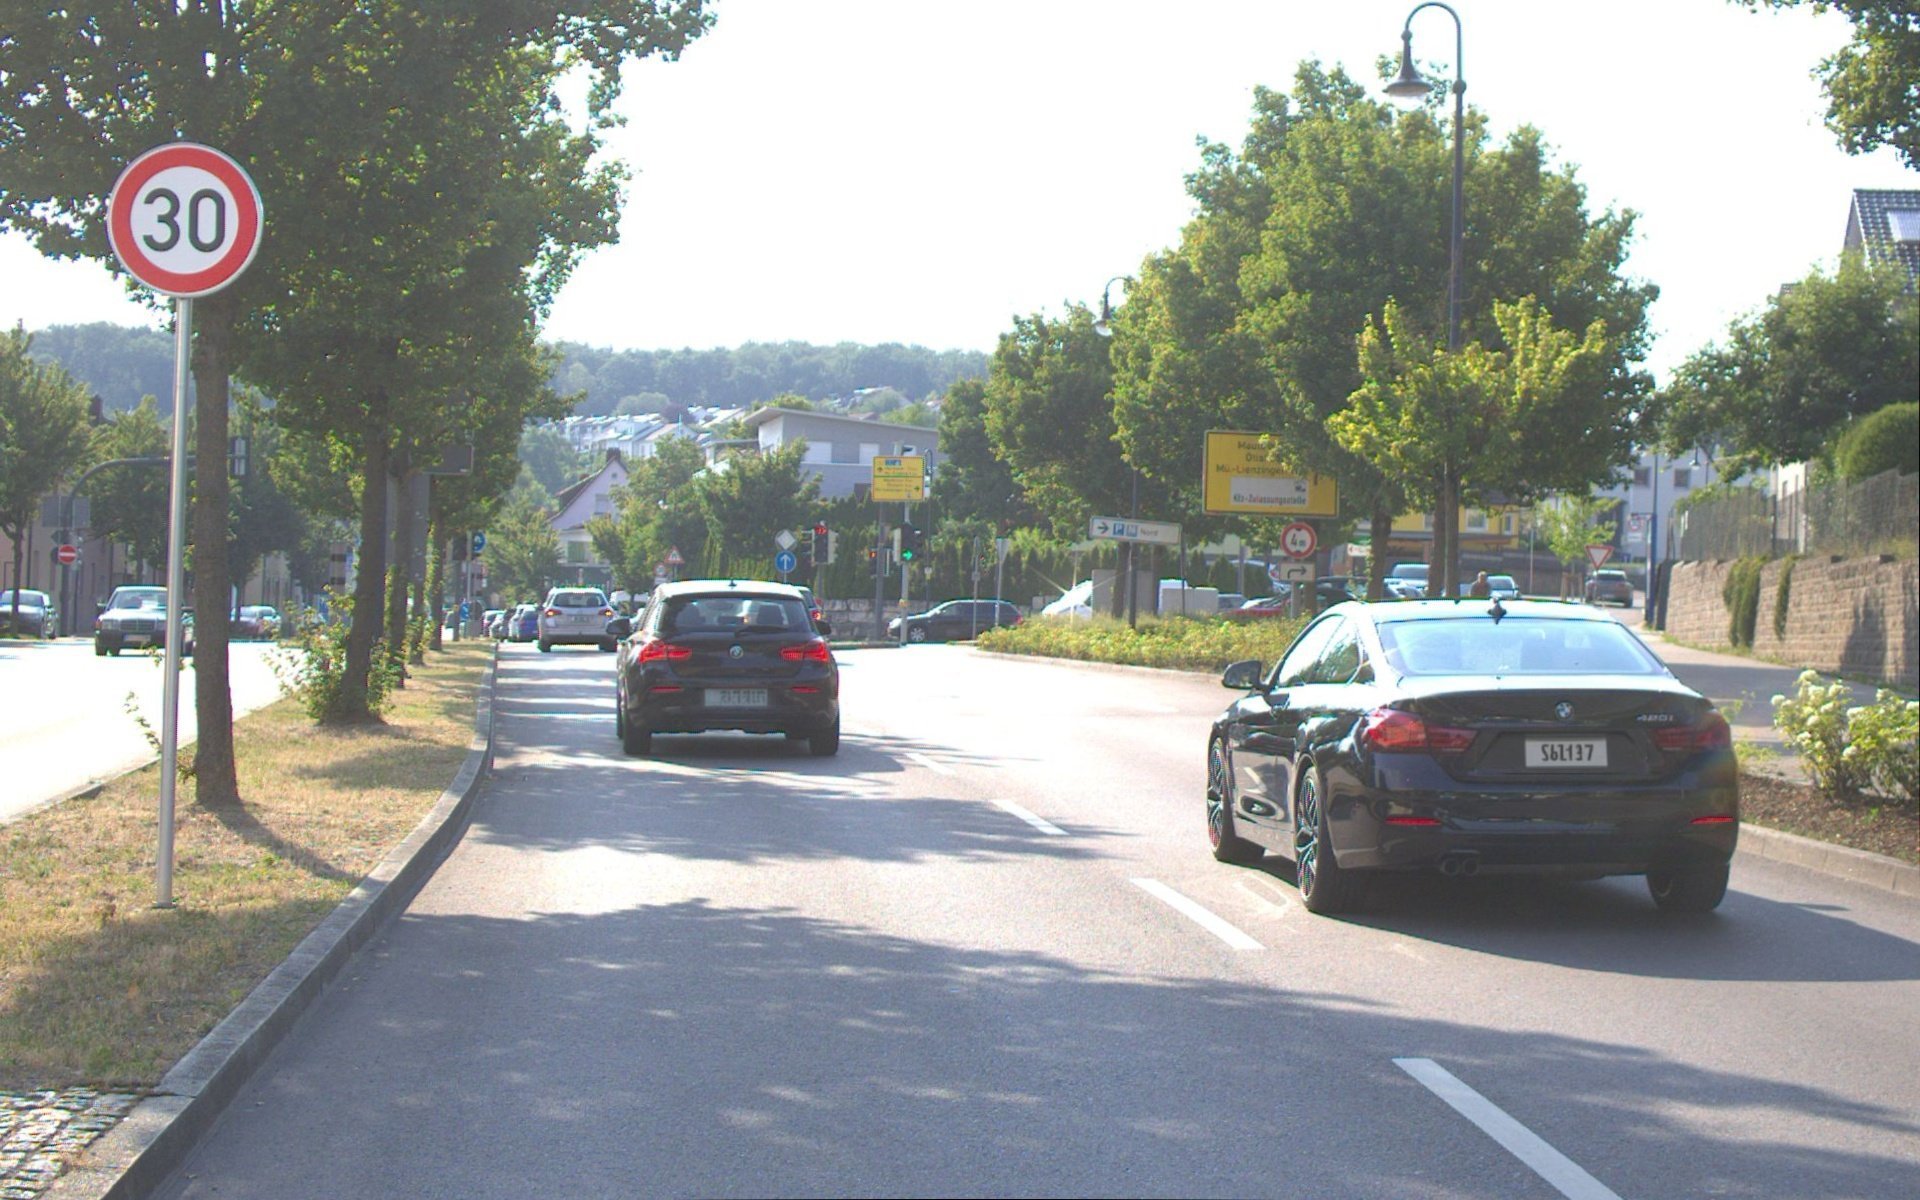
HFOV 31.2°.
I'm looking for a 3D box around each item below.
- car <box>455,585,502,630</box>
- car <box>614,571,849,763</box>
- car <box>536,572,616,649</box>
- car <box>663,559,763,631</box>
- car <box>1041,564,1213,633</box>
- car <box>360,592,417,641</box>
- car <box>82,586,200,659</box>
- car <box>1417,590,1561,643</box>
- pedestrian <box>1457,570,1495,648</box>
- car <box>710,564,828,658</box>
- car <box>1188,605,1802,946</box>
[{"bbox_3d":[-22.085,0.317,157.821,1.772,2.007,4.001,1,0,-3],"label":"car"},{"bbox_3d":[-1.878,0.513,29.417,1.721,1.485,4.353,1,0,0],"label":"car"},{"bbox_3d":[-9.066,0.232,80.995,1.755,1.763,3.972,1,0,-8],"label":"car"},{"bbox_3d":[-6.285,-0.145,87.089,2.216,1.763,4.455,1,0,-8],"label":"car"},{"bbox_3d":[5.392,-0.052,110.933,5.106,2.123,2.147,1,0,-15],"label":"car"},{"bbox_3d":[-20.096,0.555,121.080,1.729,1.673,4.001,1,0,-6],"label":"car"},{"bbox_3d":[-16.067,0.417,67.617,1.755,1.356,4.486,1,0,-7],"label":"car"},{"bbox_3d":[18.774,0.572,122.002,4.629,1.823,2.001,1,0,-10],"label":"car"},{"bbox_3d":[11.257,0.192,75.011,0.696,1.697,0.950,1,0,1],"label":"pedestrian"},{"bbox_3d":[-3.750,0.192,66.708,1.925,1.763,4.455,1,0,-8],"label":"car"},{"bbox_3d":[2.323,0.718,16.124,1.920,1.359,4.353,0,0,-4],"label":"car"}]
